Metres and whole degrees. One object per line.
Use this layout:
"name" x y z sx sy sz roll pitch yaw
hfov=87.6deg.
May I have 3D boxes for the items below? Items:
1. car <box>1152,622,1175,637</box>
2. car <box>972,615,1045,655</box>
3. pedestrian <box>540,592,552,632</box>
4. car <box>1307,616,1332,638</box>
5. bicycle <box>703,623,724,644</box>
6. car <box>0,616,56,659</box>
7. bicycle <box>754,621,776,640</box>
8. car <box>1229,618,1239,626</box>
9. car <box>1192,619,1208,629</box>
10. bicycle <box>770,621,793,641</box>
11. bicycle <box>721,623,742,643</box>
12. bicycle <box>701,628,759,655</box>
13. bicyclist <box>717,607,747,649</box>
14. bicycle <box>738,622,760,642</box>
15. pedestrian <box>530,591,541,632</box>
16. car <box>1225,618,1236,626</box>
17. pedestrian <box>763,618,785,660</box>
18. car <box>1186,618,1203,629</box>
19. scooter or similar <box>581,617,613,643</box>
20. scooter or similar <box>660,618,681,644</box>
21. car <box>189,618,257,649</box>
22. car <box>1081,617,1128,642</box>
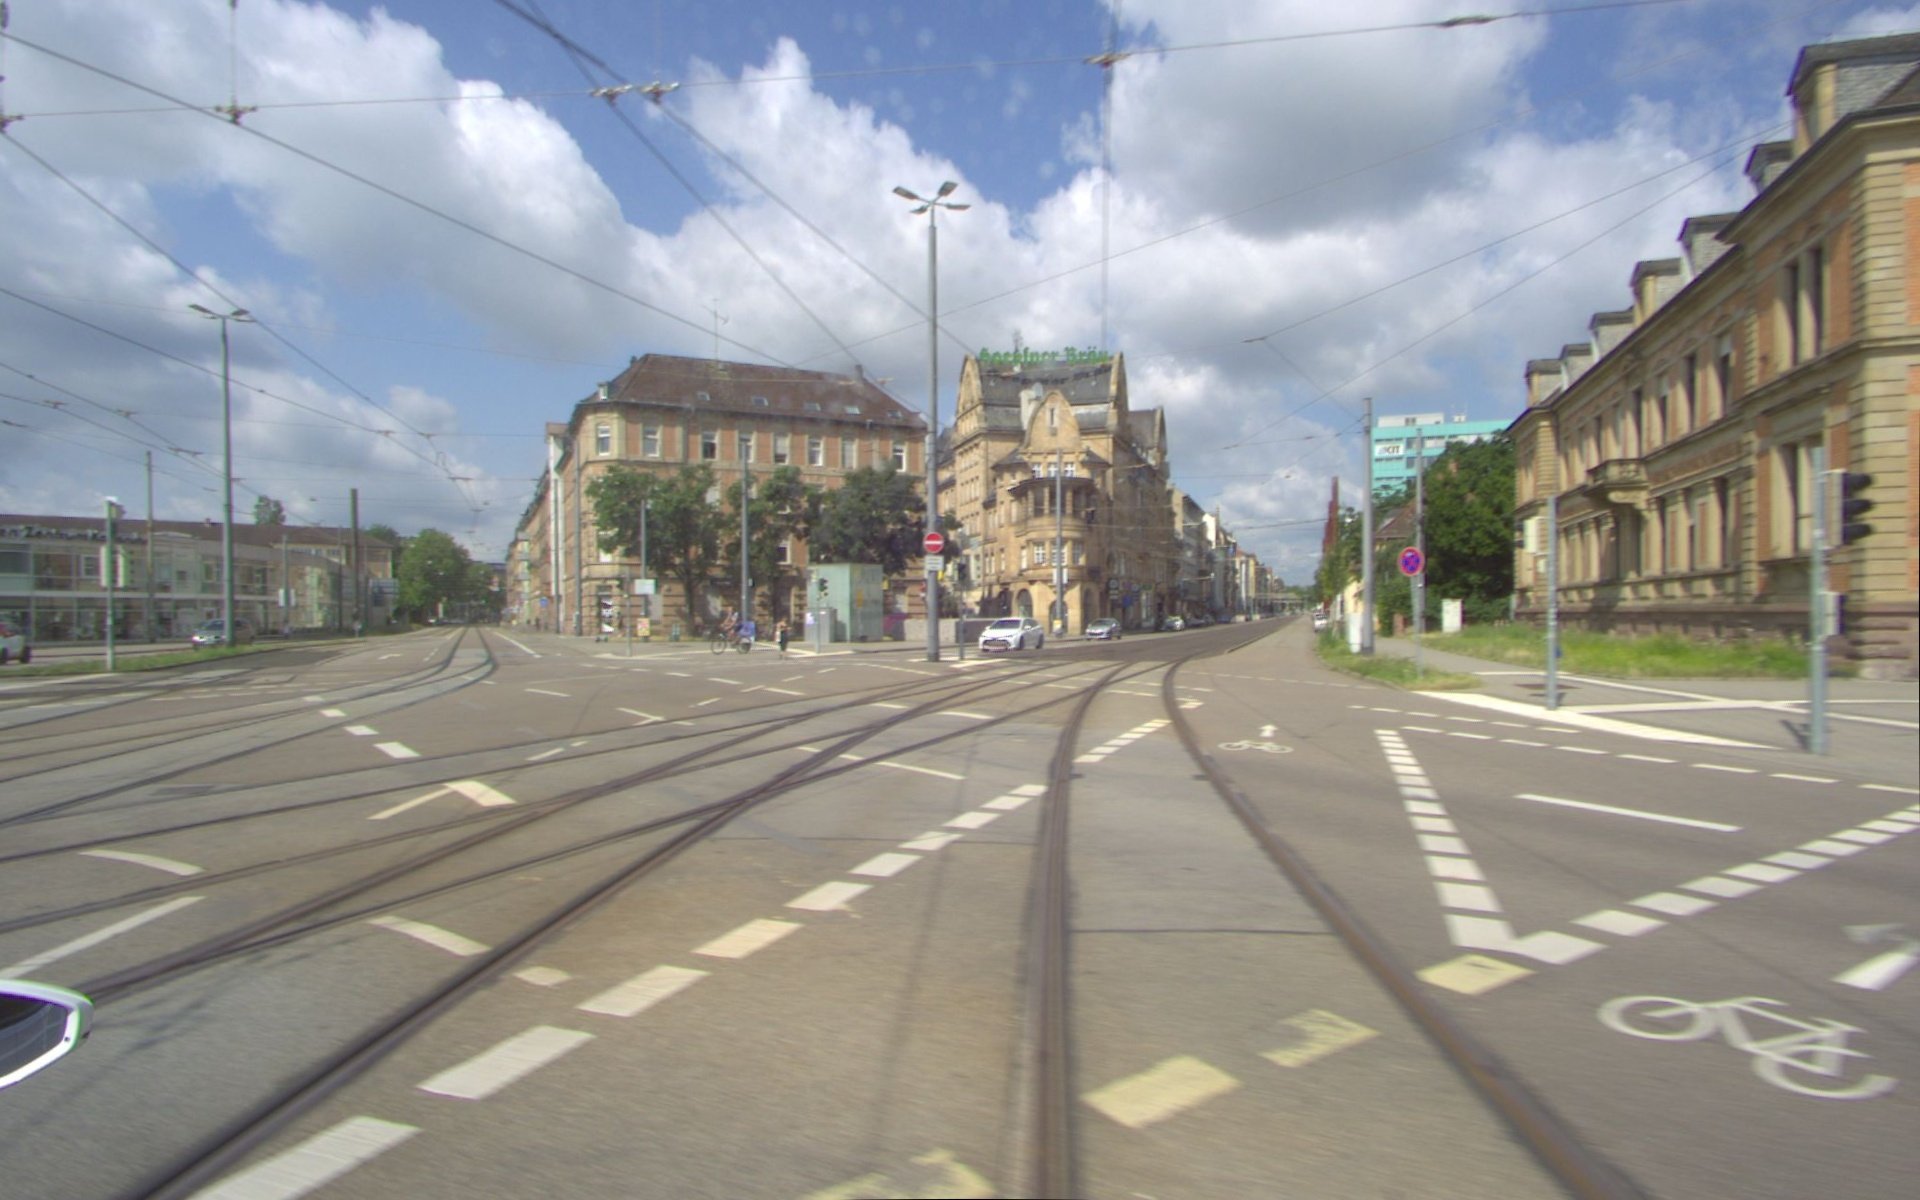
"car" 20.318 2.955 100.031 1.836 1.401 3.996 0 -3 17
"car" 2.132 1.505 42.867 1.922 1.616 4.500 0 -3 19
"pedestrian" -32.408 0.924 78.316 0.714 3.115 0.886 1 -2 -17
"car" 35.191 2.644 98.057 1.963 2.039 3.998 0 -2 16
"bicycle" -14.724 1.970 59.718 0.749 1.181 2.676 0 -1 -24
"car" -34.863 1.365 36.422 1.662 1.488 3.648 1 -3 -21
"bicycle" -11.894 1.846 61.080 0.749 1.181 2.676 0 -1 -24
"car" 52.452 4.152 191.713 1.836 1.401 3.996 0 -3 17
"car" 32.533 3.250 135.880 1.836 1.402 3.994 0 -1 17
"bicycle" -10.983 1.900 61.469 0.749 1.181 2.676 0 -1 -24
"bicycle" -13.736 1.961 60.155 0.749 1.181 2.676 0 -1 -24
"bicycle" -9.540 1.722 41.509 2.168 1.083 0.873 2 -2 -31
"bicyclist" -9.459 1.175 41.498 1.128 1.695 0.614 1 -2 -17
"bicycle" -12.807 1.973 60.654 0.749 1.180 2.677 1 -3 -23
"pedestrian" -33.139 0.892 78.140 0.656 3.160 0.886 1 -2 -17
"car" 49.983 4.026 185.196 1.836 1.401 3.996 0 -3 17
"pedestrian" -6.864 1.415 36.992 0.730 1.536 0.543 0 0 -18
"car" 30.230 3.069 129.232 1.836 1.402 3.995 0 -1 17
"scooter or similar" -20.787 1.723 57.257 1.164 1.403 2.789 2 -3 -32
"scooter or similar" -17.026 1.811 58.949 0.867 1.501 2.006 0 -1 -26
"car" -38.915 1.741 52.973 1.966 1.594 3.727 0 -1 -21
"car" 9.807 2.009 67.633 1.811 1.616 3.984 -1 -3 30
